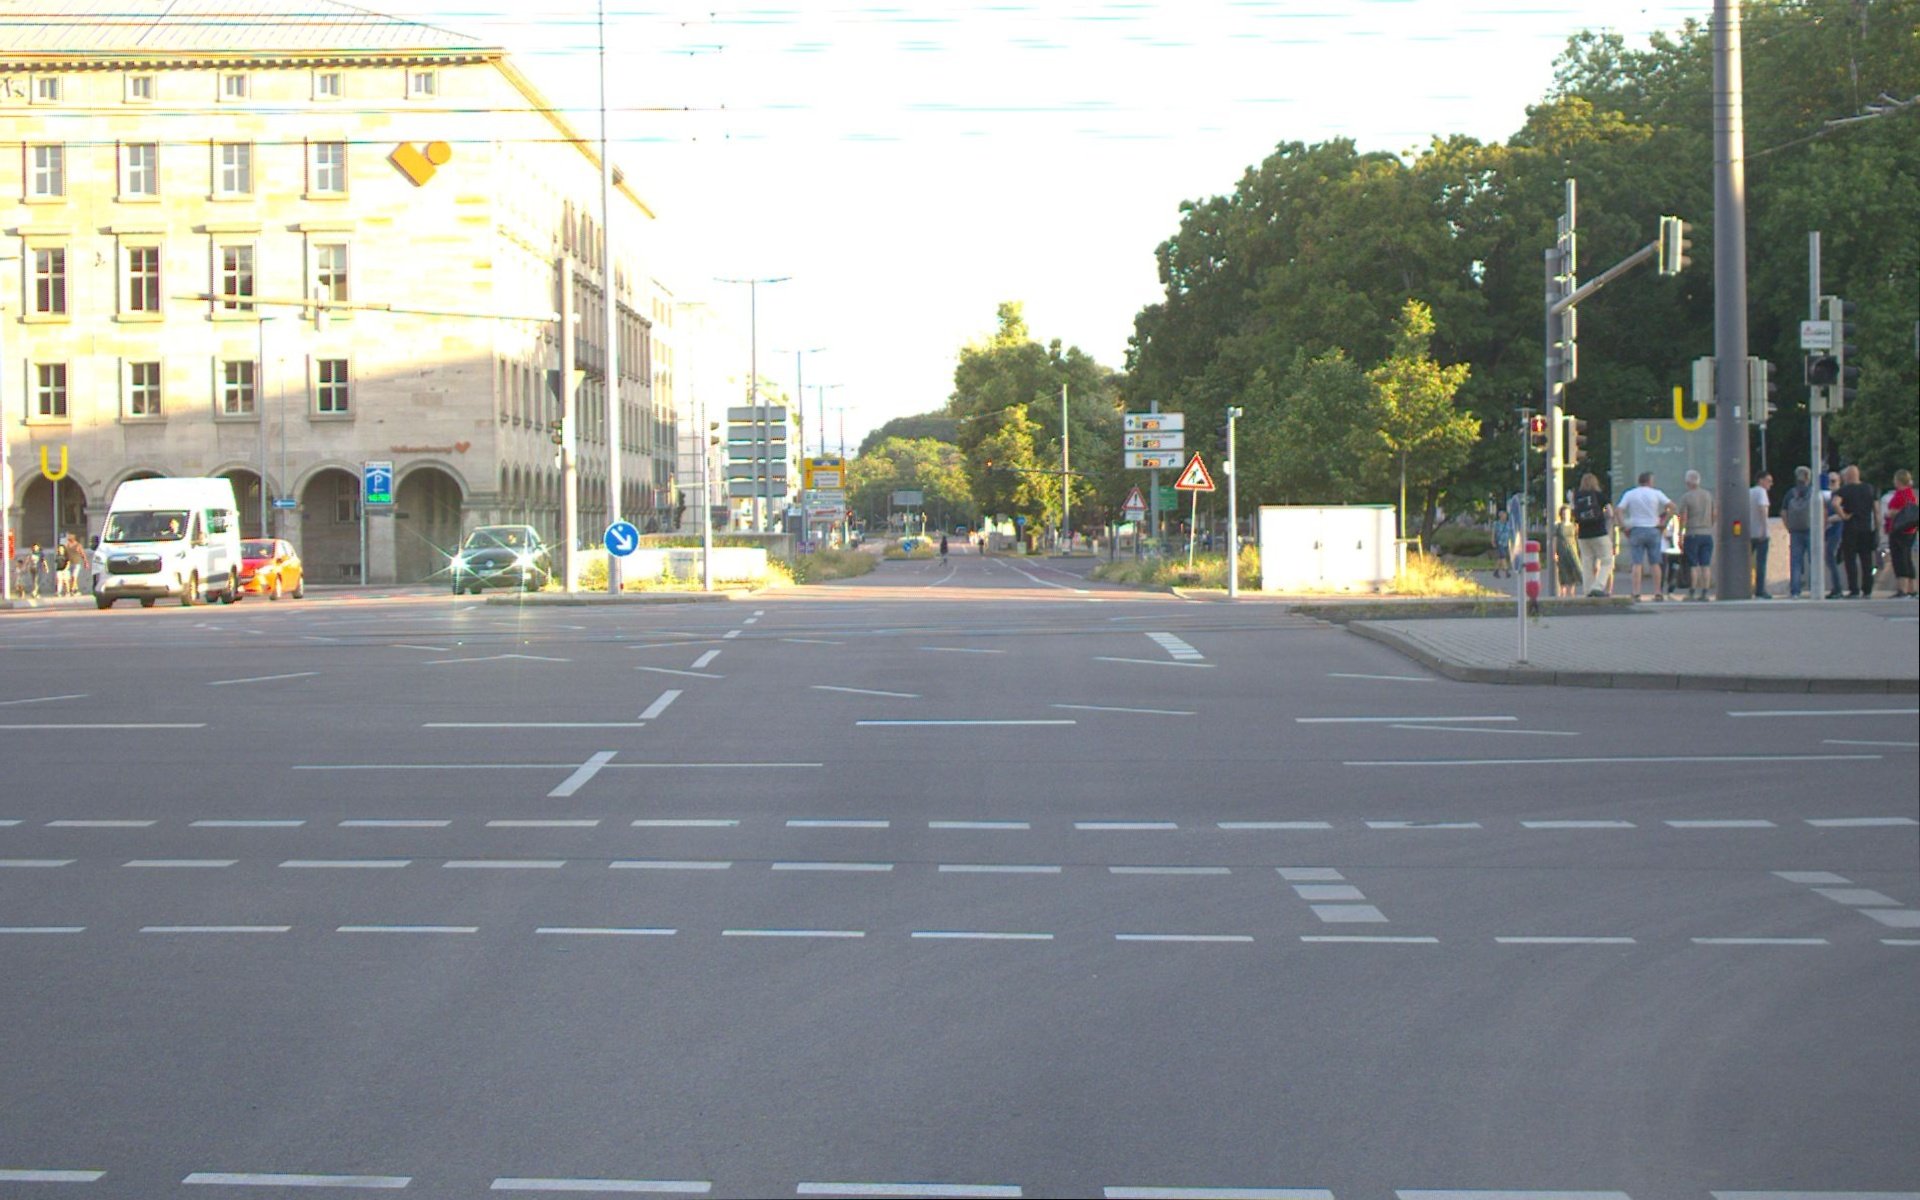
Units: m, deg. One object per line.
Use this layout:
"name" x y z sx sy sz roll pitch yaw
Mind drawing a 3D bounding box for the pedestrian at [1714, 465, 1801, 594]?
"pedestrian" 10.782 -0.964 46.484 0.912 1.719 0.713 -2 2 -35

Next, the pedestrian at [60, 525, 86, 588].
"pedestrian" -24.550 -1.204 95.178 0.621 1.738 0.460 1 0 -5

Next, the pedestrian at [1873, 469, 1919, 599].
"pedestrian" 12.684 -0.888 46.032 0.845 1.728 0.705 0 2 12

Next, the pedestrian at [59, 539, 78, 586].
"pedestrian" -24.425 -1.029 94.190 0.420 1.296 0.460 1 0 -5

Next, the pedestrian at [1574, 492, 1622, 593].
"pedestrian" 11.260 -1.015 60.614 0.680 1.751 0.901 0 2 20

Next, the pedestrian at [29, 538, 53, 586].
"pedestrian" -25.245 -1.041 94.421 0.505 1.296 0.701 1 0 -5

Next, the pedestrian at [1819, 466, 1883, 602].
"pedestrian" 11.829 -0.881 45.670 0.805 1.785 0.800 0 2 14

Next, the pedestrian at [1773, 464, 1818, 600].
"pedestrian" 11.092 -0.904 45.667 0.572 1.785 0.638 0 2 14

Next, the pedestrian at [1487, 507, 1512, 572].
"pedestrian" 14.609 -1.635 93.045 0.642 1.754 0.524 0 2 8

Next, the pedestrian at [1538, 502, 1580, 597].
"pedestrian" 10.562 -0.899 60.584 0.560 1.649 0.901 0 2 20

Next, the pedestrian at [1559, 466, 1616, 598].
"pedestrian" 8.271 -0.897 45.294 0.711 1.719 0.914 0 2 12

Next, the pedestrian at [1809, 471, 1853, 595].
"pedestrian" 11.939 -0.921 47.130 0.572 1.673 0.638 0 2 14

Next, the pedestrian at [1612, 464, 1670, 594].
"pedestrian" 9.118 -0.954 46.026 0.711 1.719 0.668 0 2 7

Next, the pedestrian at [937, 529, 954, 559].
"pedestrian" -0.841 -3.184 194.848 0.906 1.665 1.307 -1 2 -1

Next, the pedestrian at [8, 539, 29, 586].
"pedestrian" -25.897 -1.033 94.594 0.474 1.296 0.464 1 0 -5

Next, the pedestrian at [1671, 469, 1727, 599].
"pedestrian" 9.862 -0.883 45.863 0.711 1.719 0.668 0 2 13

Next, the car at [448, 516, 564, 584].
"car" -9.558 -1.077 72.635 1.823 1.337 4.000 -1 2 2

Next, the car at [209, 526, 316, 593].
"car" -16.438 -0.978 81.188 1.738 1.482 4.001 -1 2 -1

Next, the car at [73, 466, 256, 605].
"car" -16.694 -1.387 72.482 2.279 2.766 6.084 -1 2 1
